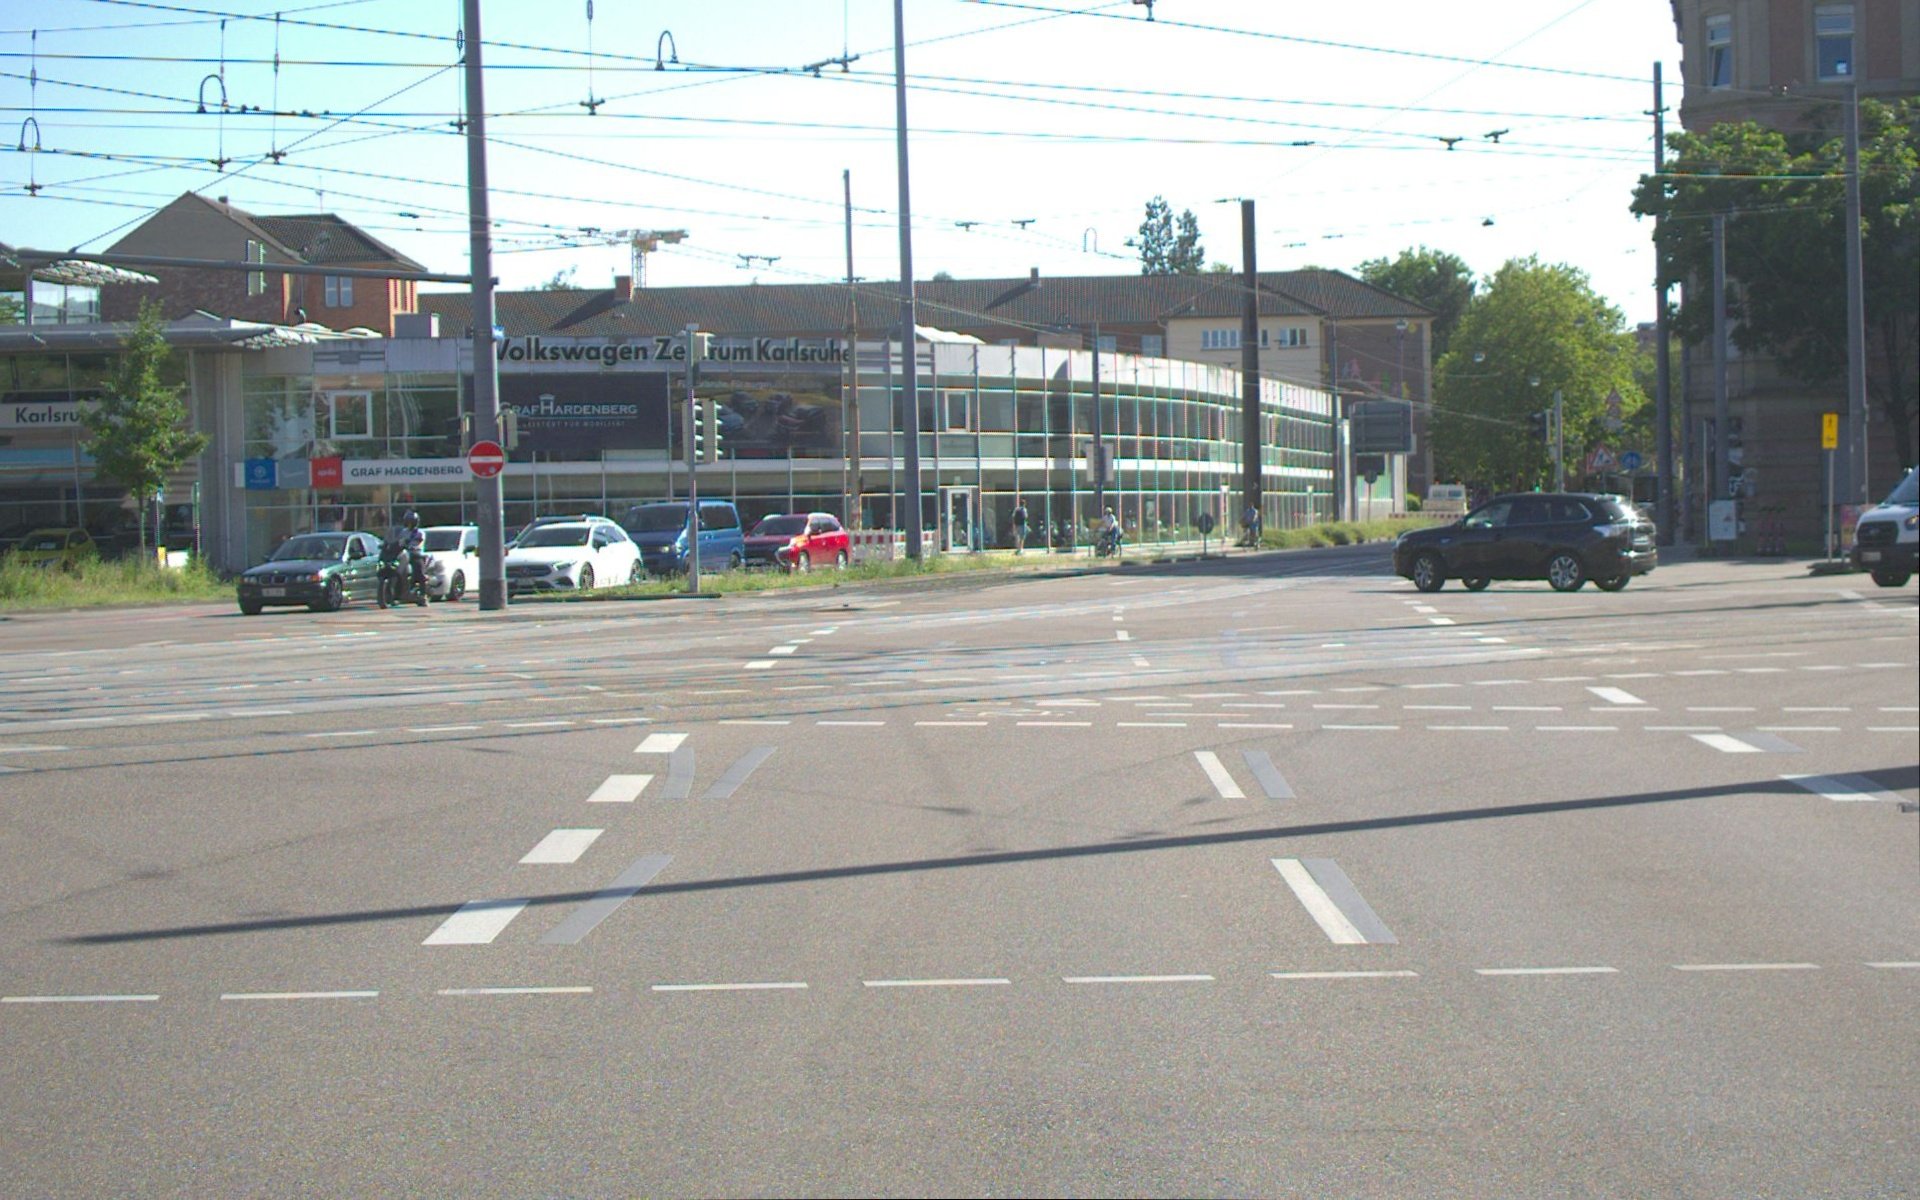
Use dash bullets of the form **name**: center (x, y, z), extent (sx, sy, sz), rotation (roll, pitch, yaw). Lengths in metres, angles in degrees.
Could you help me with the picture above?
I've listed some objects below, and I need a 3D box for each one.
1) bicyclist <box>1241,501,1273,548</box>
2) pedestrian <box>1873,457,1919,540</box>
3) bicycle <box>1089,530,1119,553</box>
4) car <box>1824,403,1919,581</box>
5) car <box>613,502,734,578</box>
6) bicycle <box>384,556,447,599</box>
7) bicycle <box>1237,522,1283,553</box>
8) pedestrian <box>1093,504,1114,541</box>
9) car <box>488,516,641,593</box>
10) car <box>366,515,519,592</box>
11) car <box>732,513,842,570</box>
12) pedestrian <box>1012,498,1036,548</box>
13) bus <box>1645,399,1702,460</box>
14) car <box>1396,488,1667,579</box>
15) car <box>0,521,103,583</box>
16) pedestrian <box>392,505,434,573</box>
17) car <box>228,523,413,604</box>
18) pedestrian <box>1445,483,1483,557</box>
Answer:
- **bicyclist**: center (10.412, -2.637, 120.460), extent (0.811, 1.618, 0.927), rotation (0, 1, 29)
- **pedestrian**: center (18.527, -2.005, 67.776), extent (0.716, 1.626, 0.758), rotation (-2, 2, -44)
- **bicycle**: center (4.701, -1.916, 111.949), extent (0.423, 0.715, 1.473), rotation (0, 2, 26)
- **car**: center (16.966, -1.763, 55.114), extent (5.903, 2.735, 2.145), rotation (-2, 1, -23)
- **car**: center (-6.580, -1.406, 79.225), extent (1.627, 1.686, 3.683), rotation (-1, 1, 14)
- **bicycle**: center (-9.617, -0.394, 60.750), extent (0.423, 0.715, 1.633), rotation (-1, 2, 17)
- **bicycle**: center (10.533, -2.211, 120.737), extent (0.811, 1.041, 2.124), rotation (0, 2, 29)
- **pedestrian**: center (4.662, -2.534, 111.879), extent (0.423, 1.200, 0.679), rotation (0, 1, 26)
- **car**: center (-7.466, -0.883, 65.214), extent (1.627, 1.377, 3.735), rotation (-1, 1, 14)
- **car**: center (-10.064, -0.927, 67.098), extent (1.627, 1.419, 3.683), rotation (-1, 1, 14)
- **car**: center (-4.326, -1.488, 86.350), extent (1.627, 1.359, 3.683), rotation (-1, 1, 16)
- **pedestrian**: center (2.158, -2.616, 116.219), extent (0.543, 1.683, 0.629), rotation (0, 2, 33)
- **bus**: center (51.903, -12.288, 249.698), extent (3.839, 3.595, 24.853), rotation (1, 1, 12)
- **car**: center (9.734, -1.126, 58.704), extent (4.260, 1.497, 1.701), rotation (0, 2, 39)
- **car**: center (-26.452, -1.415, 100.158), extent (1.966, 1.700, 4.084), rotation (-1, 1, -1)
- **pedestrian**: center (-9.656, -1.079, 60.668), extent (0.423, 1.200, 0.749), rotation (-1, 1, 17)
- **car**: center (-11.338, -0.670, 61.147), extent (1.705, 1.349, 3.698), rotation (-1, 2, 17)
- **pedestrian**: center (11.290, -1.791, 76.967), extent (0.803, 1.626, 0.718), rotation (-1, 1, 9)
